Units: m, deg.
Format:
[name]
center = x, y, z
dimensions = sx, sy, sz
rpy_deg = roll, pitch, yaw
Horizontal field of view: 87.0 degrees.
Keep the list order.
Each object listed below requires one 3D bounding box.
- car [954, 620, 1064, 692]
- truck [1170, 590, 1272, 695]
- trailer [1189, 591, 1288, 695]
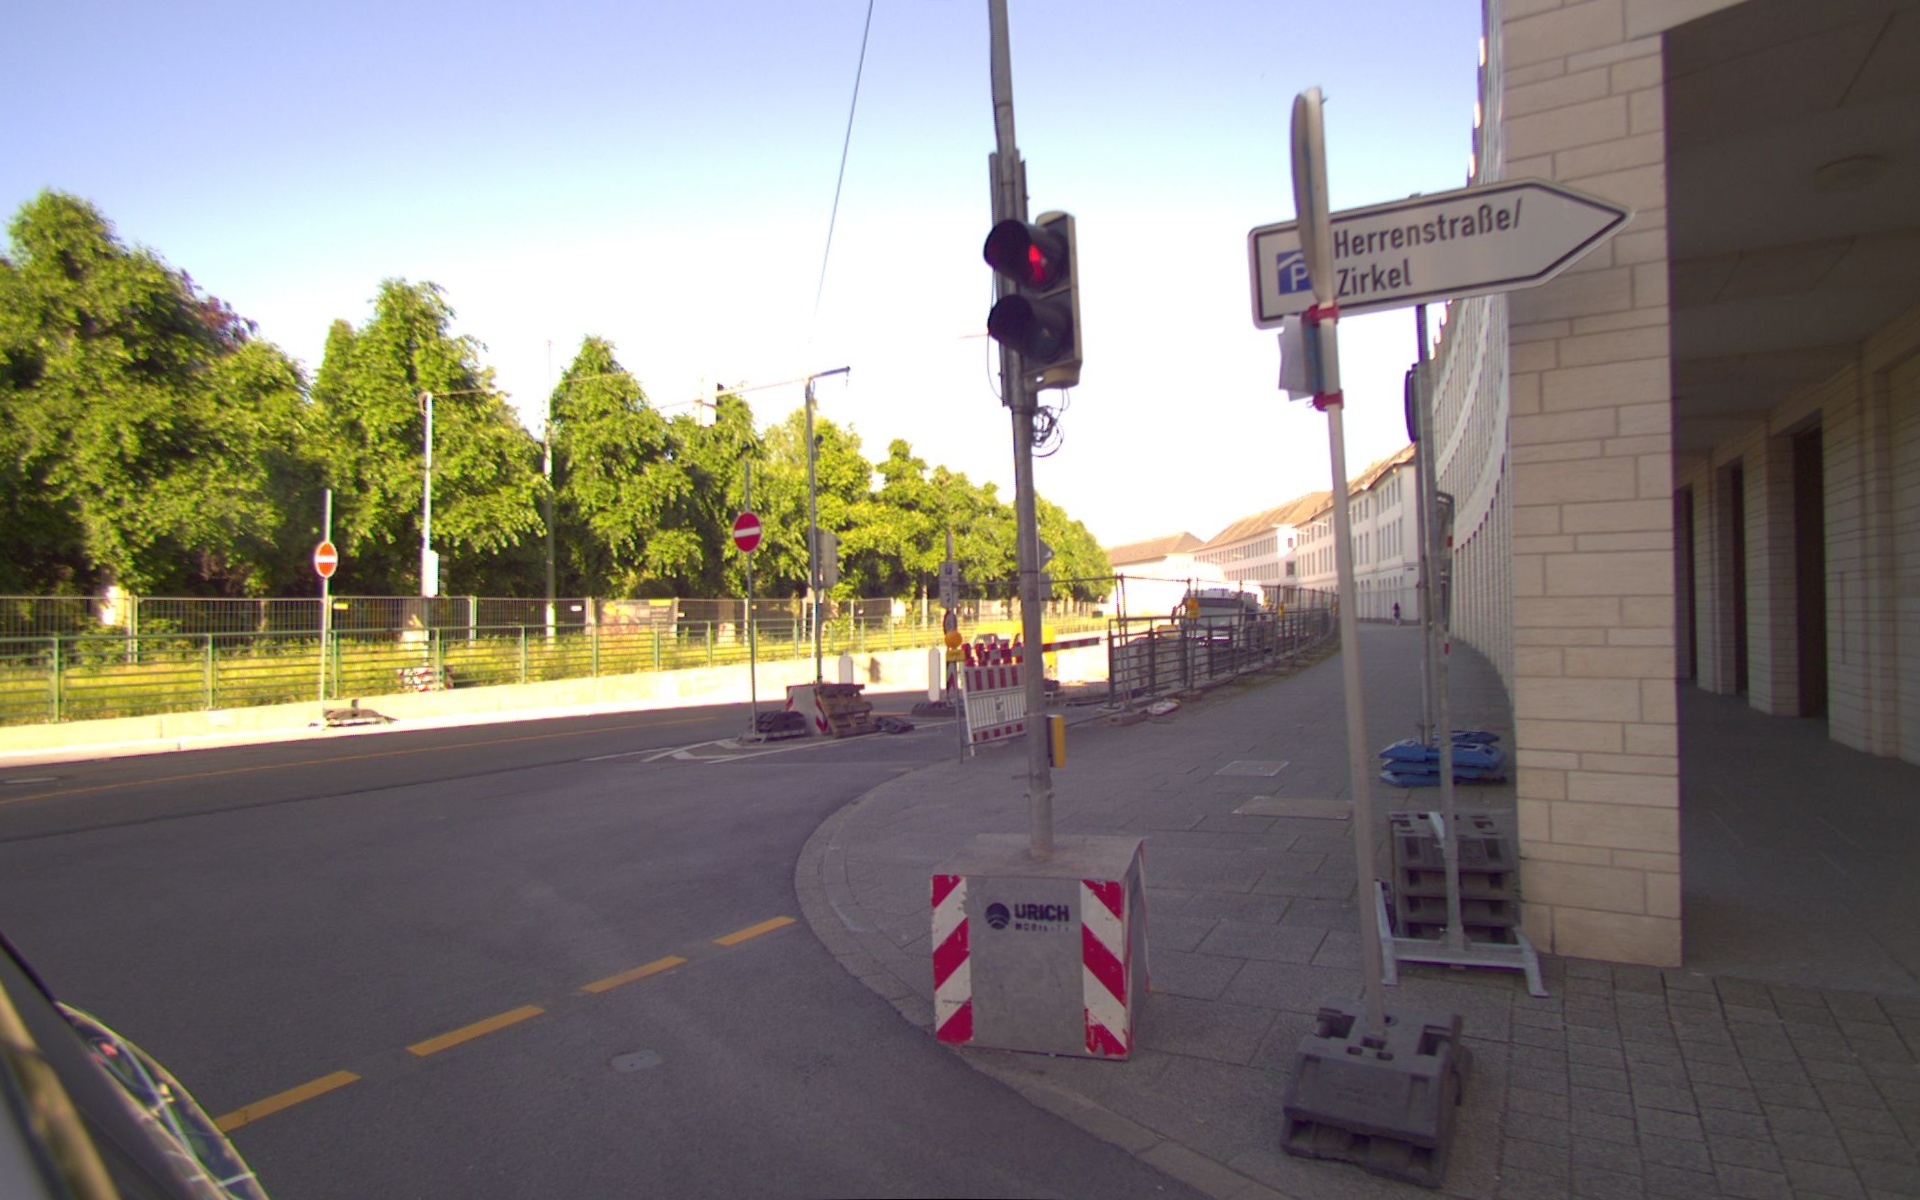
[car]
center = 2.103, 2.268, 40.624
dimensions = 2.105, 2.645, 6.930
rpy_deg = -2, -4, 23
[truck]
center = 9.803, 1.617, 37.624
dimensions = 2.573, 3.516, 5.766
rpy_deg = 2, -3, 25
[trailer]
center = 11.637, 1.831, 41.640
dimensions = 2.634, 3.697, 8.679
rpy_deg = 2, -3, 23
